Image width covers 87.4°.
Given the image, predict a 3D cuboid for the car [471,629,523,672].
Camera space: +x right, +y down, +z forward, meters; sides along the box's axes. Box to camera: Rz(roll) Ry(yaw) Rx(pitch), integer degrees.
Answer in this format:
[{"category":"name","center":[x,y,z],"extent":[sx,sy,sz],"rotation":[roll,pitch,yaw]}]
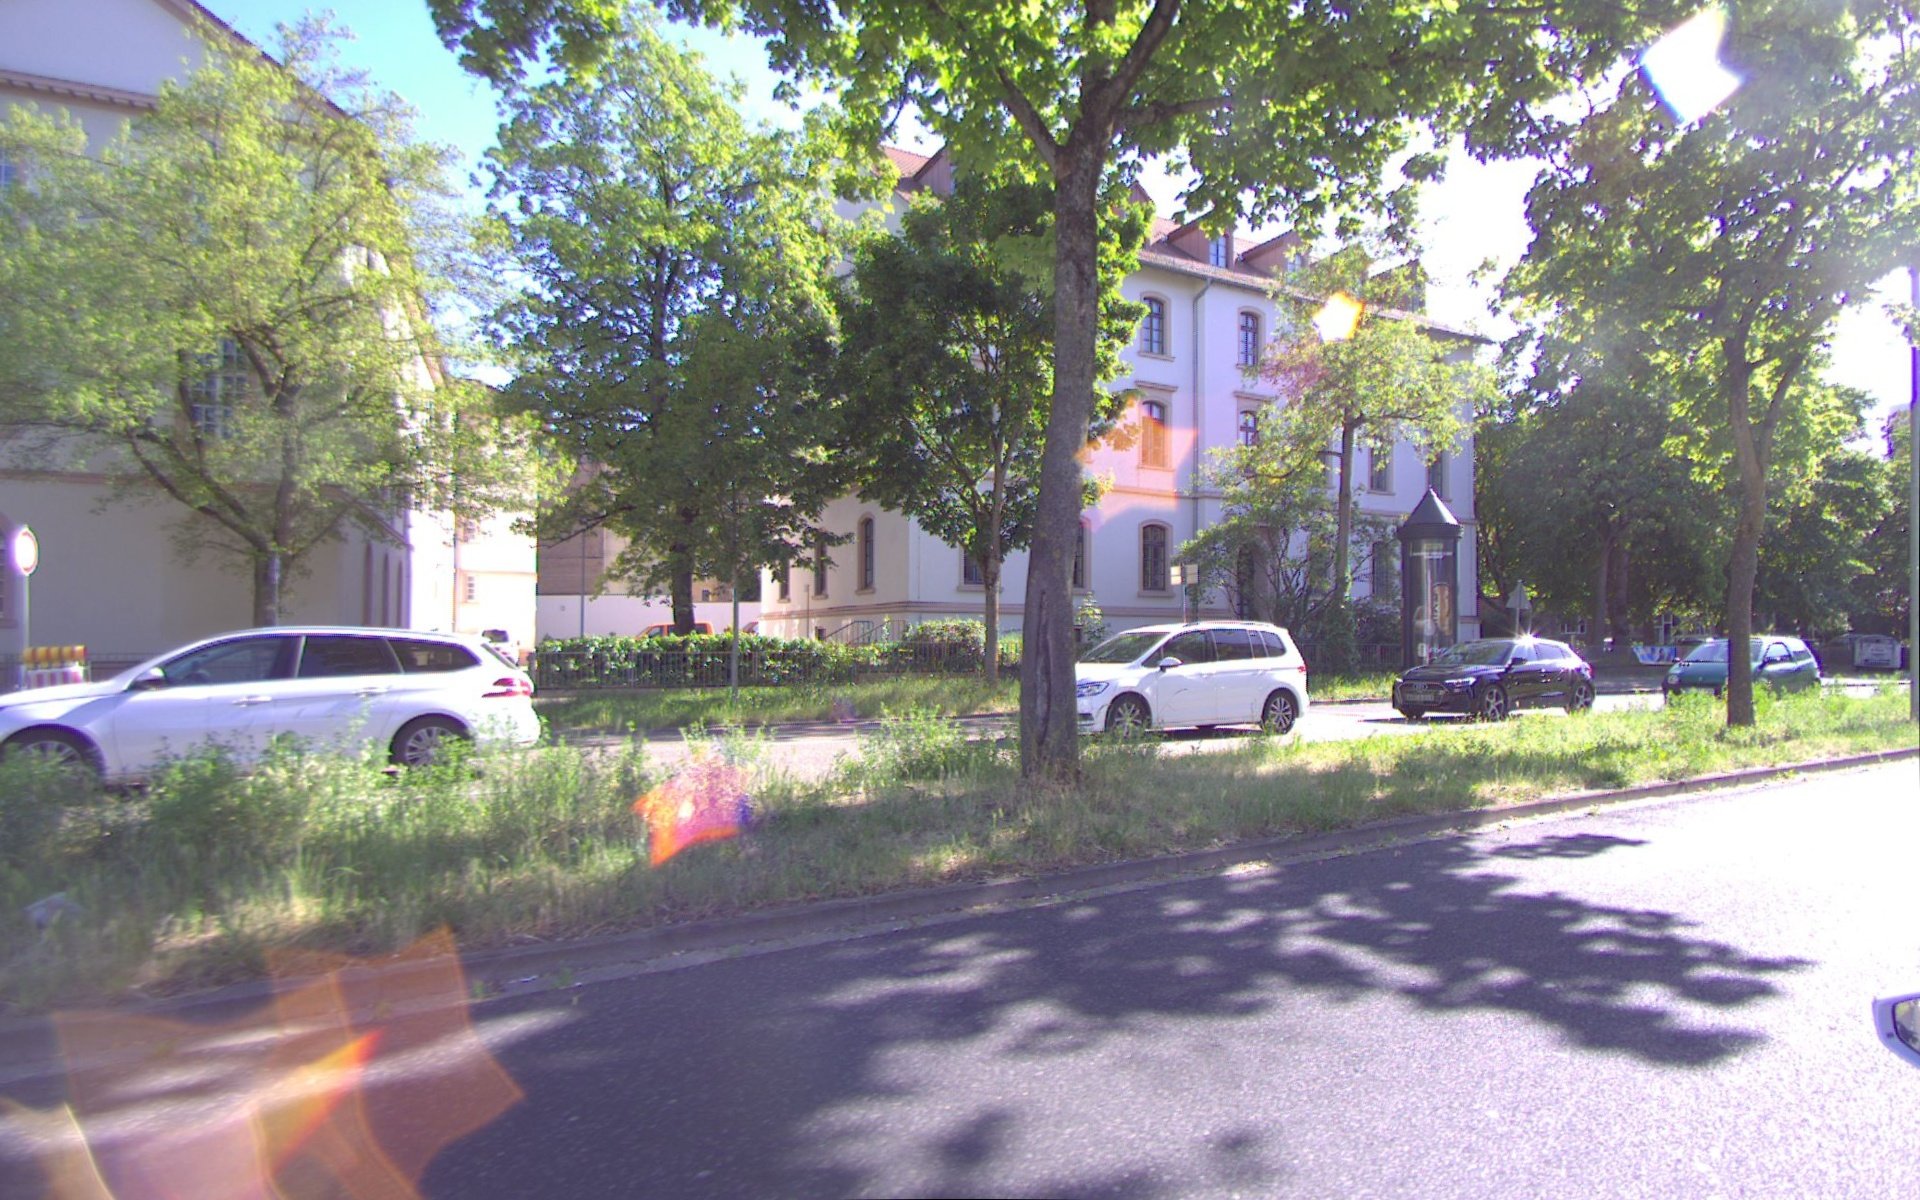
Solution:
[{"category":"car","center":[-21.838,2.360,47.462],"extent":[1.972,1.817,3.978],"rotation":[4,-3,-23]}]

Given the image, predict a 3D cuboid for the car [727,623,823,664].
[{"category":"car","center":[-9.922,2.297,53.905],"extent":[4.726,1.982,1.988],"rotation":[-1,-1,-25]}]

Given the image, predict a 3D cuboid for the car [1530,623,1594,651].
[{"category":"car","center":[38.736,2.365,64.609],"extent":[3.953,1.509,1.837],"rotation":[5,-3,-29]}]

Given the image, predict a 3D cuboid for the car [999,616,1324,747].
[{"category":"car","center":[2.954,1.118,14.583],"extent":[4.481,1.647,1.893],"rotation":[2,-3,-29]}]

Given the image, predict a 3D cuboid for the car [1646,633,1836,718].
[{"category":"car","center":[15.730,1.454,20.179],"extent":[4.210,1.539,1.630],"rotation":[2,-2,-31]}]

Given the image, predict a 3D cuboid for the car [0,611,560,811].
[{"category":"car","center":[-6.308,0.930,9.373],"extent":[4.609,1.539,1.831],"rotation":[1,-3,-29]}]

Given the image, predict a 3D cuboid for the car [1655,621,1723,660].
[{"category":"car","center":[50.225,2.793,69.161],"extent":[4.927,2.354,1.837],"rotation":[5,-3,-29]}]

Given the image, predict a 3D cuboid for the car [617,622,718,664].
[{"category":"car","center":[-15.103,2.197,51.847],"extent":[4.726,1.982,1.988],"rotation":[-1,-1,-25]}]

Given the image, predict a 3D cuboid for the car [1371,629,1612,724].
[{"category":"car","center":[9.524,1.357,17.980],"extent":[4.033,1.538,1.790],"rotation":[2,-4,-26]}]
